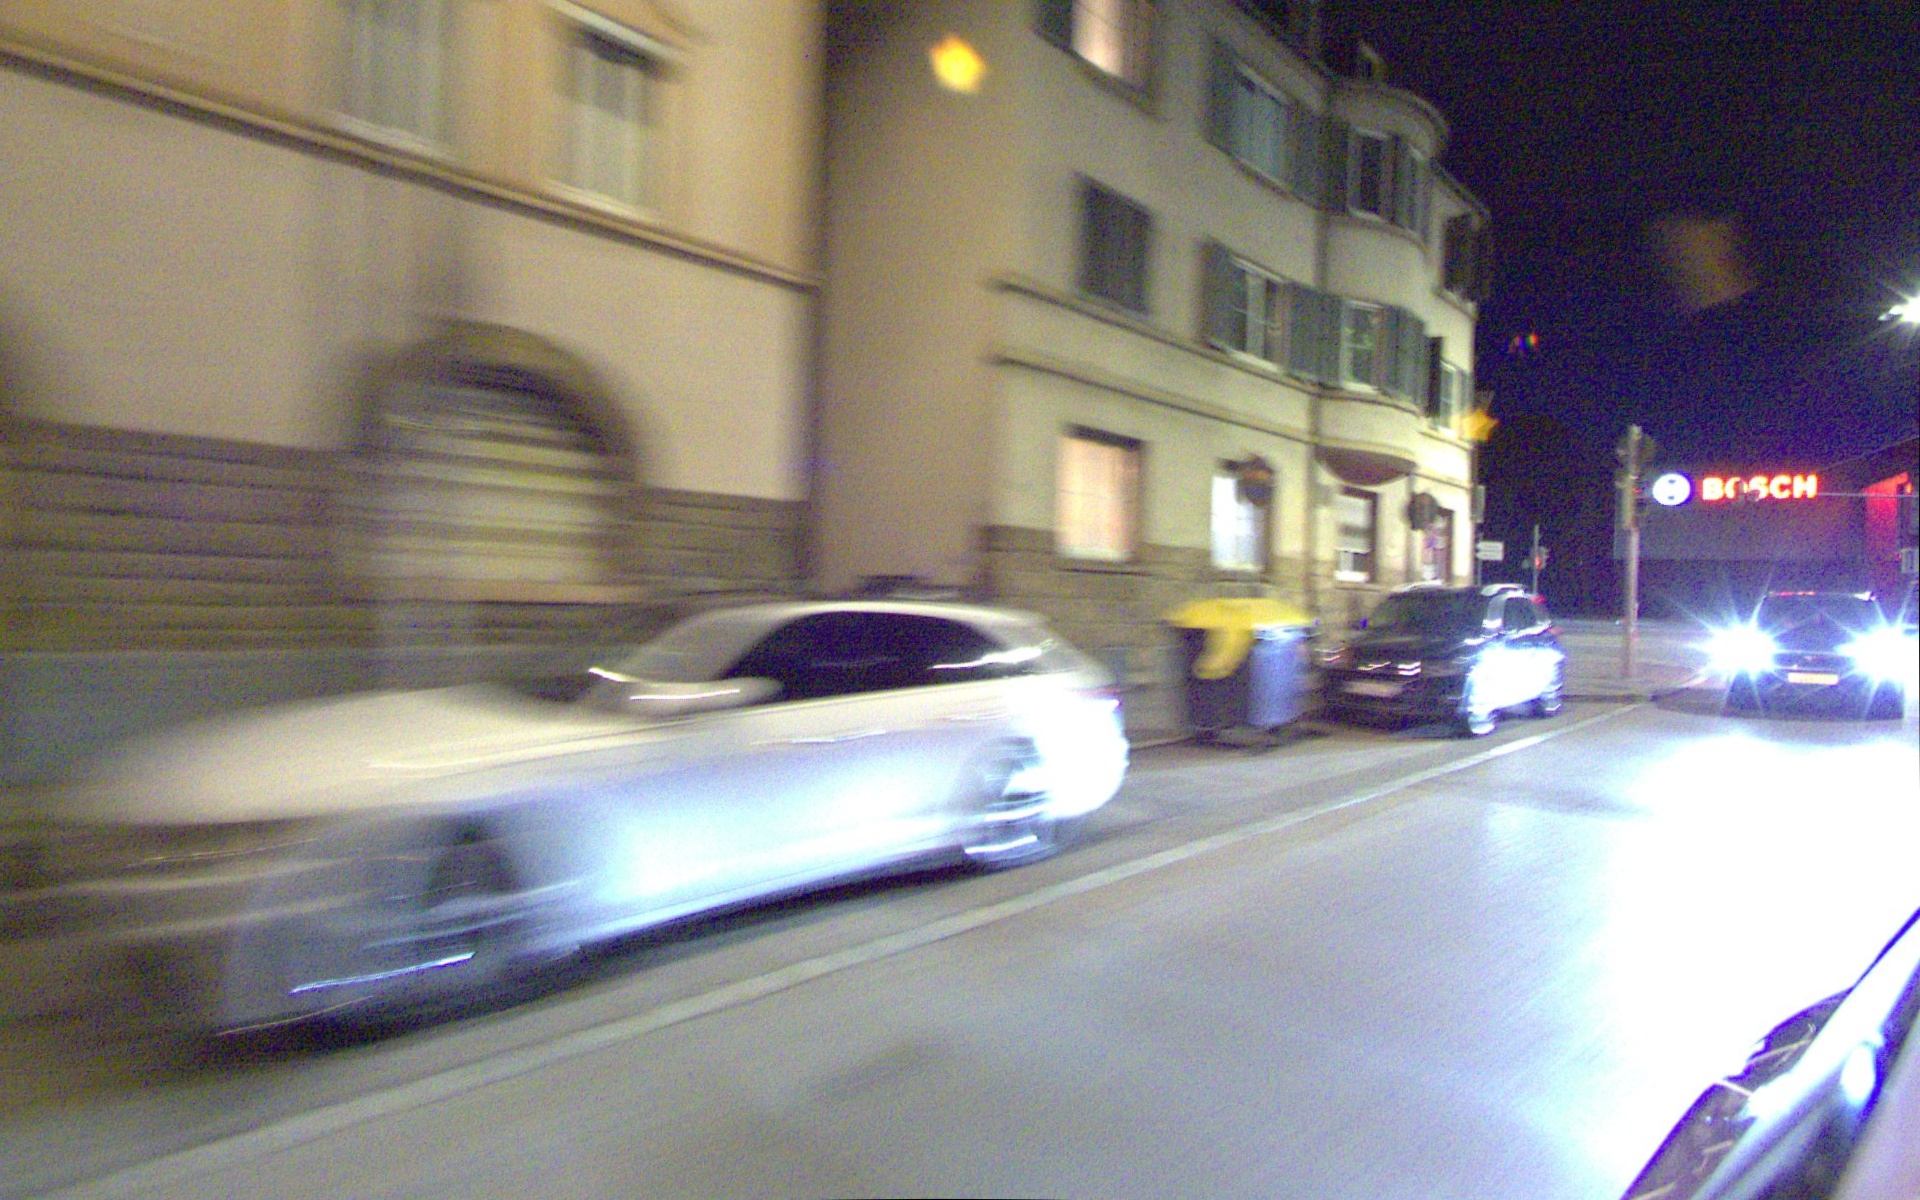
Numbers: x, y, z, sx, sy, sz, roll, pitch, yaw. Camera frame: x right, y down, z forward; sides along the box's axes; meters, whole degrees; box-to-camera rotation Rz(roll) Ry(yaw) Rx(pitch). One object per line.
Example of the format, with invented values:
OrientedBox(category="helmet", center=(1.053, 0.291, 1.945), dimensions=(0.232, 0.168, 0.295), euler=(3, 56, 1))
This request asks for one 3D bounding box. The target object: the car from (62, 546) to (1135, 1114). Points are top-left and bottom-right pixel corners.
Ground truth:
OrientedBox(category="car", center=(-1.252, 0.581, 5.049), dimensions=(1.745, 1.527, 4.755), euler=(4, 3, 45))

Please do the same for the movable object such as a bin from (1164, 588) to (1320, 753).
OrientedBox(category="movable object such as a bin", center=(2.769, 0.624, 9.899), dimensions=(0.937, 1.449, 1.318), euler=(3, 2, 43))

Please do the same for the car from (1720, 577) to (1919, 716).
OrientedBox(category="car", center=(12.142, 0.549, 14.335), dimensions=(1.991, 1.636, 3.942), euler=(2, 1, 40))

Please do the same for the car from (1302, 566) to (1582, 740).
OrientedBox(category="car", center=(5.970, 0.504, 12.289), dimensions=(1.745, 1.703, 4.189), euler=(3, 3, 45))
